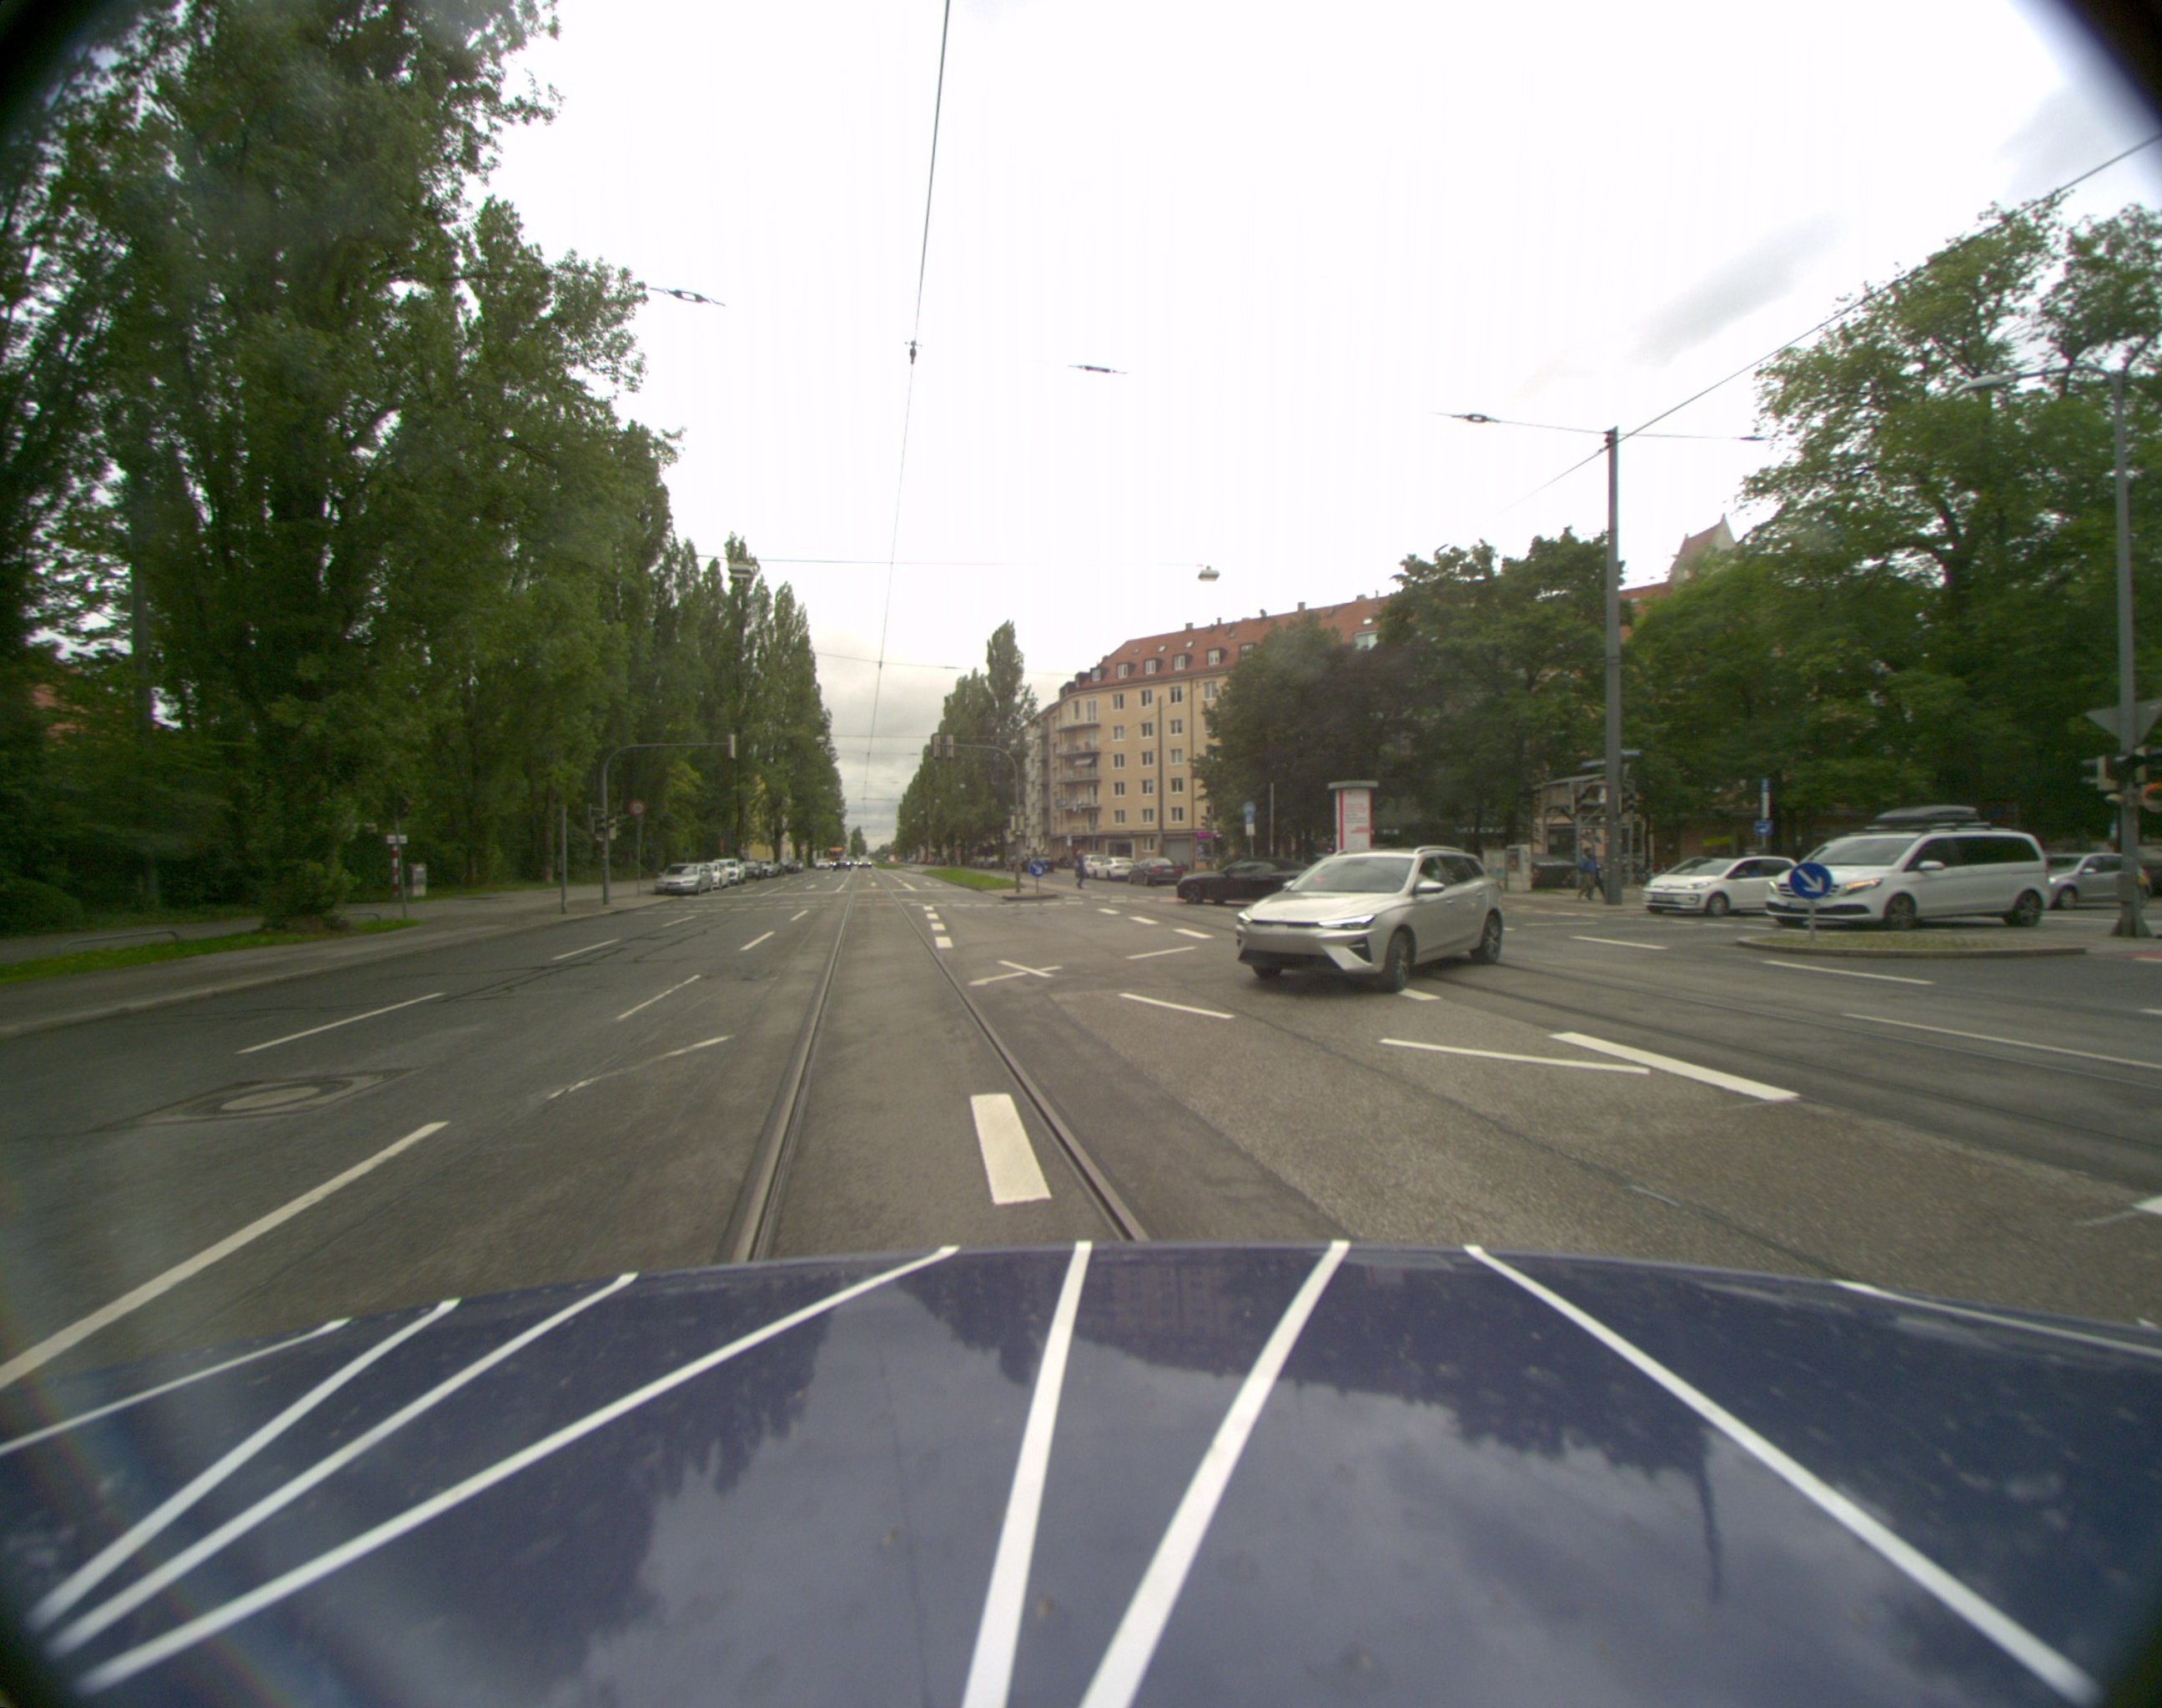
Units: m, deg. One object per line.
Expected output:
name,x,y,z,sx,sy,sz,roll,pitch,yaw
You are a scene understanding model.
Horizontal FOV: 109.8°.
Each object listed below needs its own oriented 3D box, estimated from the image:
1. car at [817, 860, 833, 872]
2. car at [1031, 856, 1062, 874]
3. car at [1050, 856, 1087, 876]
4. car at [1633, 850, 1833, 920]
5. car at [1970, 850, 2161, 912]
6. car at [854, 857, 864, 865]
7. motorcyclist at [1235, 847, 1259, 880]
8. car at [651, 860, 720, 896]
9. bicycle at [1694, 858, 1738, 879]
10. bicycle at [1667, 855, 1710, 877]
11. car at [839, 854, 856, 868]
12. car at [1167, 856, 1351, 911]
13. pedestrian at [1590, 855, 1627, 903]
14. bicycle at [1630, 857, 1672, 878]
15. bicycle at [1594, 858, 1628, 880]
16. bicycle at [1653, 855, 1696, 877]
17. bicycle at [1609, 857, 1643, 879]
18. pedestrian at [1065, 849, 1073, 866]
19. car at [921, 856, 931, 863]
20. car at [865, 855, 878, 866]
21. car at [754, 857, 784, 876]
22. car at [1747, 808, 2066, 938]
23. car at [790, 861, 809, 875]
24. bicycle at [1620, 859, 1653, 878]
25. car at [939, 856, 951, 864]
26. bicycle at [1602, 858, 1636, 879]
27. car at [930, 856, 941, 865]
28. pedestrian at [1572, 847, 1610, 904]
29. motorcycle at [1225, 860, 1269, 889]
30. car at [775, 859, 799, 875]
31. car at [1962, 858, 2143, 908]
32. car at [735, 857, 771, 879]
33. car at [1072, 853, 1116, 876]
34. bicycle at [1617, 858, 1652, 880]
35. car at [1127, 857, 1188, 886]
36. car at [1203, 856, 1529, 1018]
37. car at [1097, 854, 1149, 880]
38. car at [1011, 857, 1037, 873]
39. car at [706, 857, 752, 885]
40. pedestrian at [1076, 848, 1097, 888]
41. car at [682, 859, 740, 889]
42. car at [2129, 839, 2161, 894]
car,-35.276,1.666,104.615,1.787,1.477,4.133,-1,1,-15
car,-2.962,0.904,64.482,1.732,1.399,4.469,-1,1,-15
car,-1.002,0.885,57.517,1.732,1.399,4.369,-1,1,-15
car,16.031,0.716,18.719,4.211,1.515,1.774,-1,-1,-18
car,26.612,0.691,20.562,4.211,1.515,1.774,-1,-1,-17
car,-45.014,1.428,153.967,1.787,1.477,4.133,-1,1,-15
motorcyclist,7.627,0.433,34.905,0.622,1.434,0.879,-3,1,-33
car,-18.305,1.043,35.365,1.787,1.477,4.347,-1,1,-13
bicycle,27.239,0.636,32.592,1.409,0.888,0.314,-3,-1,42
bicycle,25.952,0.527,32.469,1.409,0.888,0.314,-3,-1,42
car,-27.394,0.808,89.182,1.787,1.477,4.133,-1,1,-15
car,5.004,0.776,21.631,4.785,1.381,1.733,0,1,34
pedestrian,16.060,0.750,23.154,0.545,1.396,0.720,-2,3,-11
bicycle,23.825,0.574,31.795,0.313,0.888,1.410,-1,-1,-25
bicycle,22.193,0.622,31.841,0.313,0.888,1.412,-2,-1,-4
bicycle,25.243,0.500,32.310,0.314,0.888,1.409,-1,0,-37
bicycle,22.883,0.603,31.899,0.313,0.888,1.412,-2,-1,-4
pedestrian,-1.216,0.362,76.840,0.547,1.655,0.651,-1,-1,-20
car,-38.051,1.389,186.325,2.001,1.695,3.995,-1,-1,-17
car,-30.257,0.879,109.903,1.787,1.477,4.133,-1,1,-15
car,-25.824,1.003,63.004,1.787,1.477,4.133,-1,1,-15
car,16.221,0.311,15.026,4.946,2.337,1.912,-1,1,-10
car,-33.561,1.642,90.684,1.787,1.477,4.133,-1,1,-15
bicycle,26.797,0.699,36.634,1.412,0.888,0.313,-2,-1,-5
car,-26.132,1.226,146.192,1.820,1.461,3.995,-1,-1,-17
bicycle,22.537,0.613,31.867,0.313,0.888,1.412,-2,-1,-4
car,-29.923,1.420,156.330,1.820,1.707,3.995,-1,-1,-17
pedestrian,15.447,0.653,23.037,0.545,1.652,0.720,-2,5,-11
motorcycle,7.601,0.922,34.928,0.631,1.163,2.023,-6,5,-35
car,-30.641,1.339,79.289,1.787,1.477,4.133,-1,1,-15
car,31.274,0.883,24.493,4.643,1.452,1.771,-1,1,-13
car,-24.017,1.028,55.786,1.787,1.477,4.133,-1,1,-15
car,0.785,0.642,49.592,1.732,1.399,4.369,-1,1,-15
bicycle,23.250,0.619,31.929,0.313,0.888,1.412,-2,-1,-4
car,3.790,0.854,38.097,1.732,1.308,3.994,-1,1,-15
car,3.614,0.824,9.286,4.216,1.515,1.772,-1,-1,-38
car,2.396,0.726,44.328,1.732,1.399,4.369,-1,1,-15
car,-5.438,1.019,72.369,1.732,1.399,4.202,-1,1,-15
car,-21.155,0.984,45.783,1.787,1.477,4.133,-1,1,-15
pedestrian,0.232,0.576,32.109,0.550,1.652,0.703,-2,-1,30
car,-19.765,1.027,40.797,1.787,1.477,4.254,-1,1,-12
car,38.323,0.394,25.645,4.557,1.809,1.935,-1,1,-15
